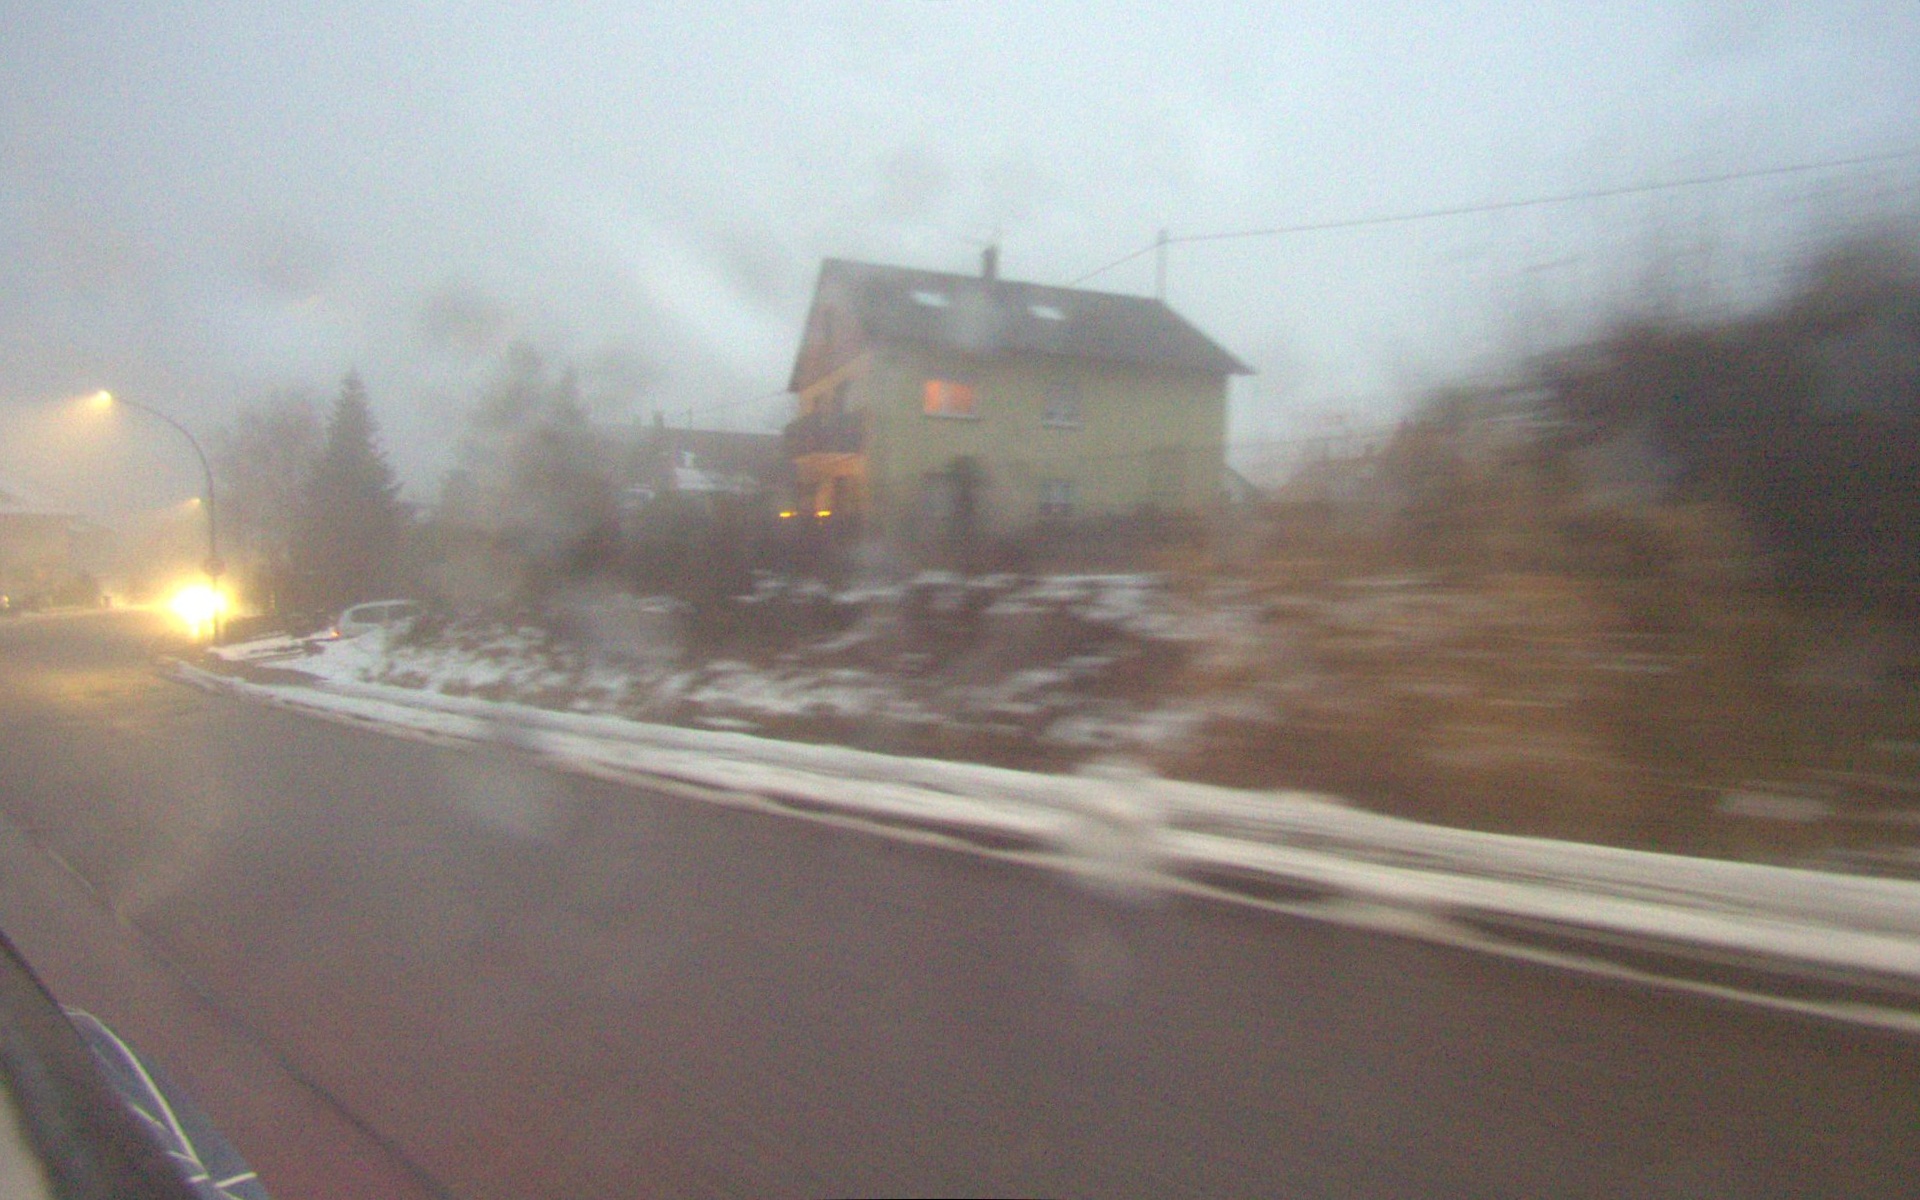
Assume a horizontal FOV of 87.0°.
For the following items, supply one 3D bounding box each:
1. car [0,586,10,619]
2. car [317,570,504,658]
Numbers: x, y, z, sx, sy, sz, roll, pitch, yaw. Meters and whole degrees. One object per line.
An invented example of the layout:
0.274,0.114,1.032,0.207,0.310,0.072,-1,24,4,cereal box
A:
-57.061,0.089,57.425,4.146,1.872,1.918,2,1,-21,car
-14.642,0.325,27.225,3.935,1.619,1.910,-9,6,-16,car
